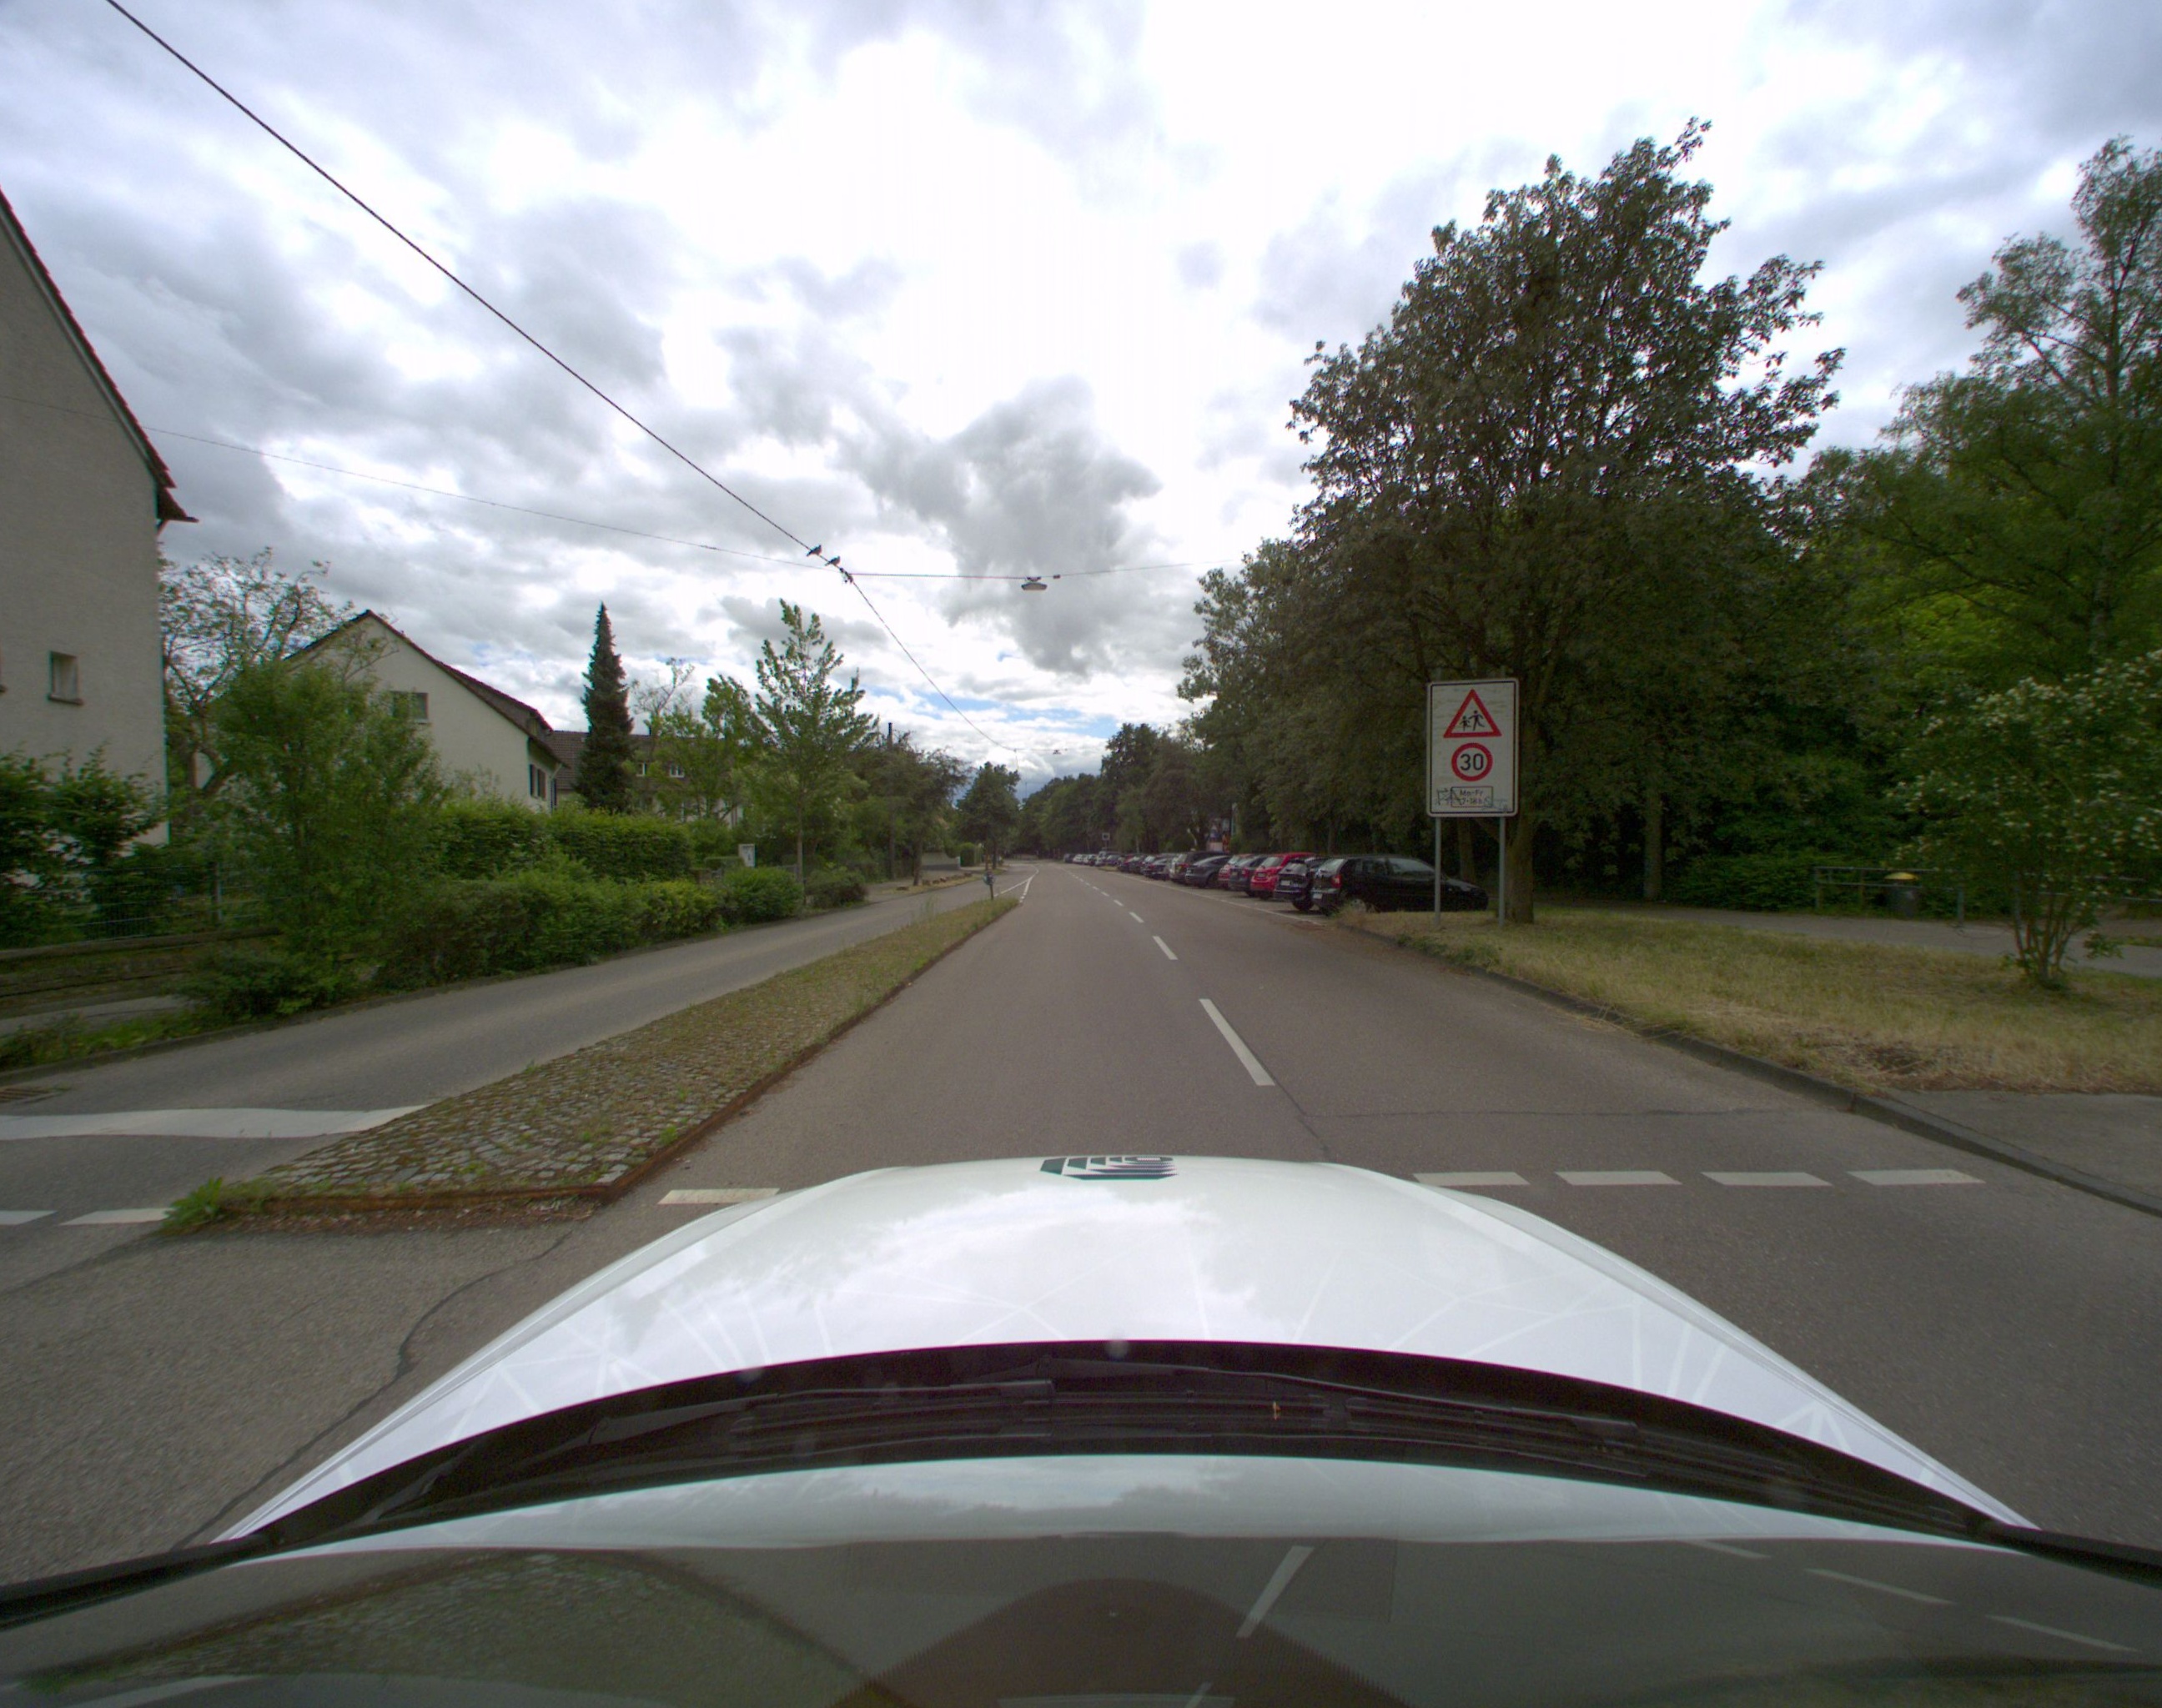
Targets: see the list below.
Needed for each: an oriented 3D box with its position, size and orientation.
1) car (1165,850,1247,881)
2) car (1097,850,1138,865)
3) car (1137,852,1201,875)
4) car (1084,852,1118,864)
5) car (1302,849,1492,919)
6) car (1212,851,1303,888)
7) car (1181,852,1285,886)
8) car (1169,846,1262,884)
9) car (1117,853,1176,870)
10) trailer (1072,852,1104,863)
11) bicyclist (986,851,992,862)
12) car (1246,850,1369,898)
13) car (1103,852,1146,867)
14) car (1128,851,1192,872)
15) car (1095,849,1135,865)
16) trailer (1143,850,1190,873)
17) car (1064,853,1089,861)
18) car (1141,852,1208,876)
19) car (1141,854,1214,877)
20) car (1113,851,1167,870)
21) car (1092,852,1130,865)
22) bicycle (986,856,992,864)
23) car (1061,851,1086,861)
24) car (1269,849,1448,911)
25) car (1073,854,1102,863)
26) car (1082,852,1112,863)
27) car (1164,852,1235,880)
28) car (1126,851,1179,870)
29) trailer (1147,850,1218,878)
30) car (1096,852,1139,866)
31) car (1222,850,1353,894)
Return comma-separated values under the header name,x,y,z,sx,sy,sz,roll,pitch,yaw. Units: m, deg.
name,x,y,z,sx,sy,sz,roll,pitch,yaw
car,6.286,0.576,41.085,3.817,1.529,1.602,0,0,-7
car,3.892,0.368,87.203,4.009,1.620,1.872,0,0,-19
car,5.803,0.598,53.797,3.846,1.455,1.626,0,0,-15
car,2.540,0.540,103.532,3.905,1.449,1.828,0,0,-27
car,7.087,0.643,18.431,3.710,1.476,1.573,0,1,-5
car,7.271,0.612,33.617,3.329,1.464,1.628,0,0,-13
car,6.628,0.641,35.619,4.165,1.407,1.690,0,0,-14
car,6.301,0.483,38.296,3.989,1.725,1.673,0,0,-12
car,5.151,0.573,63.877,4.322,1.341,1.724,0,0,-17
trailer,0.998,0.494,116.853,4.171,1.573,1.699,0,-1,-22
bicyclist,-14.336,0.385,126.888,0.843,1.697,0.712,0,1,-5
car,7.258,0.604,26.154,3.530,1.476,1.584,0,0,-15
car,4.377,0.557,81.833,3.975,1.405,1.746,0,0,-18
car,5.659,0.539,58.443,4.355,1.445,1.625,0,0,-17
car,3.814,0.304,90.073,4.111,1.754,1.770,0,0,-30
trailer,5.908,0.478,56.272,2.992,1.542,1.296,0,1,-16
car,-0.825,0.520,137.806,3.901,1.429,1.730,0,0,-23
car,5.876,0.594,51.229,3.922,1.486,1.608,0,0,-18
car,5.731,0.667,48.359,4.039,1.327,1.553,0,-1,-12
car,4.846,0.524,66.705,4.091,1.515,1.719,-1,0,-25
car,3.432,0.555,93.322,3.977,1.449,1.906,0,0,-18
bicycle,-14.329,0.919,126.892,0.843,1.266,2.648,0,1,-4
car,-1.259,0.378,140.570,3.901,1.668,1.730,0,0,-23
car,7.020,0.620,20.708,4.140,1.476,1.569,0,0,-14
car,0.991,0.604,119.478,3.906,1.309,1.728,0,0,-27
car,2.199,0.499,114.749,3.903,1.449,1.730,0,0,-24
car,6.335,0.627,43.548,3.430,1.445,1.551,0,0,-15
car,5.379,0.477,61.318,3.620,1.445,1.624,0,0,-19
trailer,5.703,0.576,45.861,3.694,1.535,1.638,0,0,-14
car,3.772,0.547,84.281,4.042,1.405,1.744,0,0,-21
car,7.230,0.603,28.641,4.222,1.464,1.628,0,0,-12
